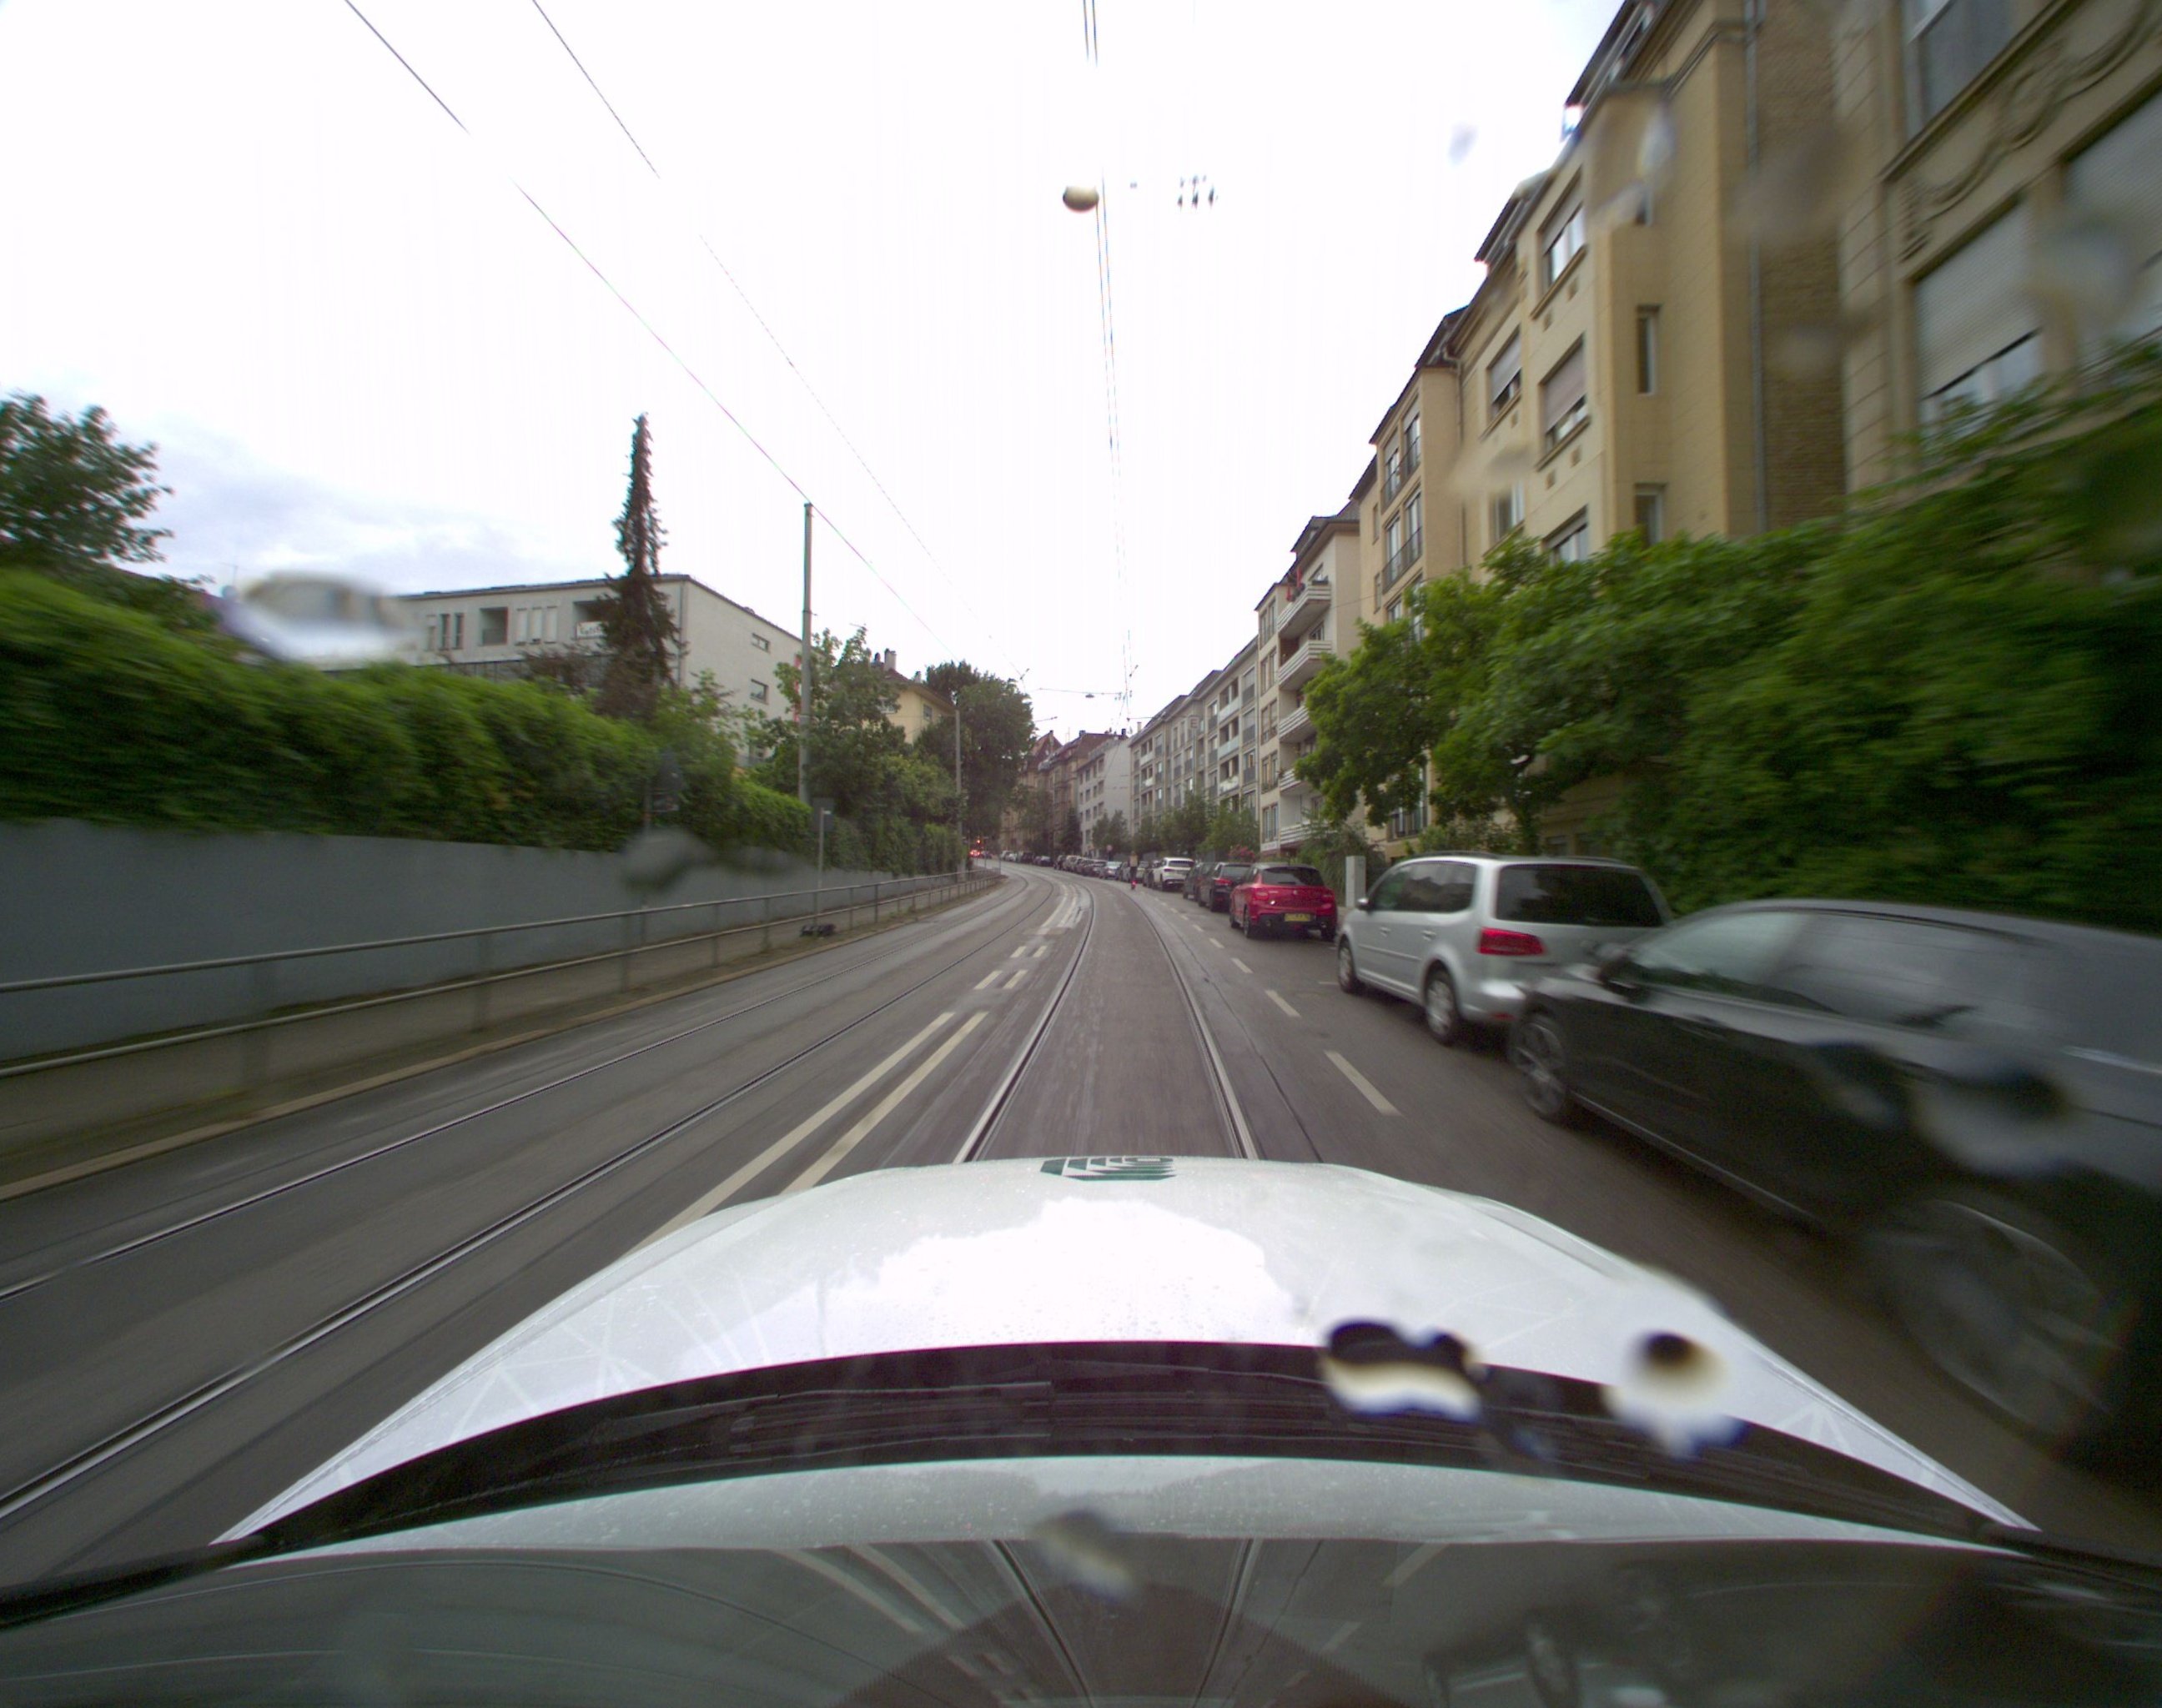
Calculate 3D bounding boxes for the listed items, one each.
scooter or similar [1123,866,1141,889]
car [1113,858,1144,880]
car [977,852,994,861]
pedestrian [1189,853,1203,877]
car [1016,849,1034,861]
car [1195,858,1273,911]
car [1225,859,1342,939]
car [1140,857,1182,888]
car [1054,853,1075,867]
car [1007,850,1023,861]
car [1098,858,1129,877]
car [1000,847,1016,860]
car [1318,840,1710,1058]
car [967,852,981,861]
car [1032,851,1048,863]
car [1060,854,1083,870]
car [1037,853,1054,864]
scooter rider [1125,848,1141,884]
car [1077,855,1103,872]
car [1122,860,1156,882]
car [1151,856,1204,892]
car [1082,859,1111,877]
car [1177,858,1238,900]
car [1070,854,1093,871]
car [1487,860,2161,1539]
[{"bbox_3d":[2.505,1.131,40.214,0.513,1.049,2.004,2,0,-6],"label":"scooter or similar"},{"bbox_3d":[3.503,1.106,60.155,1.699,1.512,3.706,1,0,-6],"label":"car"},{"bbox_3d":[-18.354,0.436,156.028,2.038,1.734,4.105,1,0,-26],"label":"car"},{"bbox_3d":[7.373,0.706,52.330,0.569,1.542,0.926,-3,0,-10],"label":"pedestrian"},{"bbox_3d":[-8.750,0.144,126.787,2.032,1.824,4.345,1,0,-15],"label":"car"},{"bbox_3d":[4.595,0.873,24.987,1.677,1.437,4.064,0,0,1],"label":"car"},{"bbox_3d":[4.101,0.856,17.072,1.714,1.437,3.845,0,0,3],"label":"car"},{"bbox_3d":[4.366,0.984,44.867,1.697,1.512,4.568,3,0,-2],"label":"car"},{"bbox_3d":[-2.009,0.713,99.207,1.767,1.684,4.232,1,0,-11],"label":"car"},{"bbox_3d":[-11.173,0.188,137.603,2.030,1.824,4.122,1,0,-13],"label":"car"},{"bbox_3d":[2.644,1.103,67.414,1.761,1.435,4.626,-1,0,-8],"label":"car"},{"bbox_3d":[-12.842,-0.053,142.639,2.031,2.218,4.119,1,0,-15],"label":"car"},{"bbox_3d":[3.884,0.724,8.284,1.759,1.603,4.289,-1,0,1],"label":"car"},{"bbox_3d":[-21.207,0.480,161.298,1.862,1.734,4.114,1,0,-18],"label":"car"},{"bbox_3d":[-5.981,0.423,117.550,1.651,1.536,3.872,-3,1,-13],"label":"car"},{"bbox_3d":[-1.126,0.937,94.459,1.768,1.684,4.230,1,0,-12],"label":"car"},{"bbox_3d":[-4.944,0.630,112.878,1.767,1.518,4.124,1,0,-11],"label":"car"},{"bbox_3d":[2.554,0.586,40.174,0.622,1.705,0.842,2,0,-6],"label":"scooter rider"},{"bbox_3d":[0.869,0.926,82.987,1.768,1.615,4.231,1,0,-12],"label":"car"},{"bbox_3d":[3.901,1.144,55.592,1.658,1.471,4.501,1,-1,-4],"label":"car"},{"bbox_3d":[4.588,0.900,39.422,1.833,1.573,4.243,2,0,-3],"label":"car"},{"bbox_3d":[1.441,1.266,77.105,1.769,1.615,4.227,-1,0,-14],"label":"car"},{"bbox_3d":[4.704,0.890,30.824,1.552,1.437,4.301,0,0,-1],"label":"car"},{"bbox_3d":[0.058,0.903,88.820,1.766,1.787,4.234,1,0,-10],"label":"car"},{"bbox_3d":[3.450,0.798,3.450,1.757,1.390,4.006,1,1,5],"label":"car"}]
